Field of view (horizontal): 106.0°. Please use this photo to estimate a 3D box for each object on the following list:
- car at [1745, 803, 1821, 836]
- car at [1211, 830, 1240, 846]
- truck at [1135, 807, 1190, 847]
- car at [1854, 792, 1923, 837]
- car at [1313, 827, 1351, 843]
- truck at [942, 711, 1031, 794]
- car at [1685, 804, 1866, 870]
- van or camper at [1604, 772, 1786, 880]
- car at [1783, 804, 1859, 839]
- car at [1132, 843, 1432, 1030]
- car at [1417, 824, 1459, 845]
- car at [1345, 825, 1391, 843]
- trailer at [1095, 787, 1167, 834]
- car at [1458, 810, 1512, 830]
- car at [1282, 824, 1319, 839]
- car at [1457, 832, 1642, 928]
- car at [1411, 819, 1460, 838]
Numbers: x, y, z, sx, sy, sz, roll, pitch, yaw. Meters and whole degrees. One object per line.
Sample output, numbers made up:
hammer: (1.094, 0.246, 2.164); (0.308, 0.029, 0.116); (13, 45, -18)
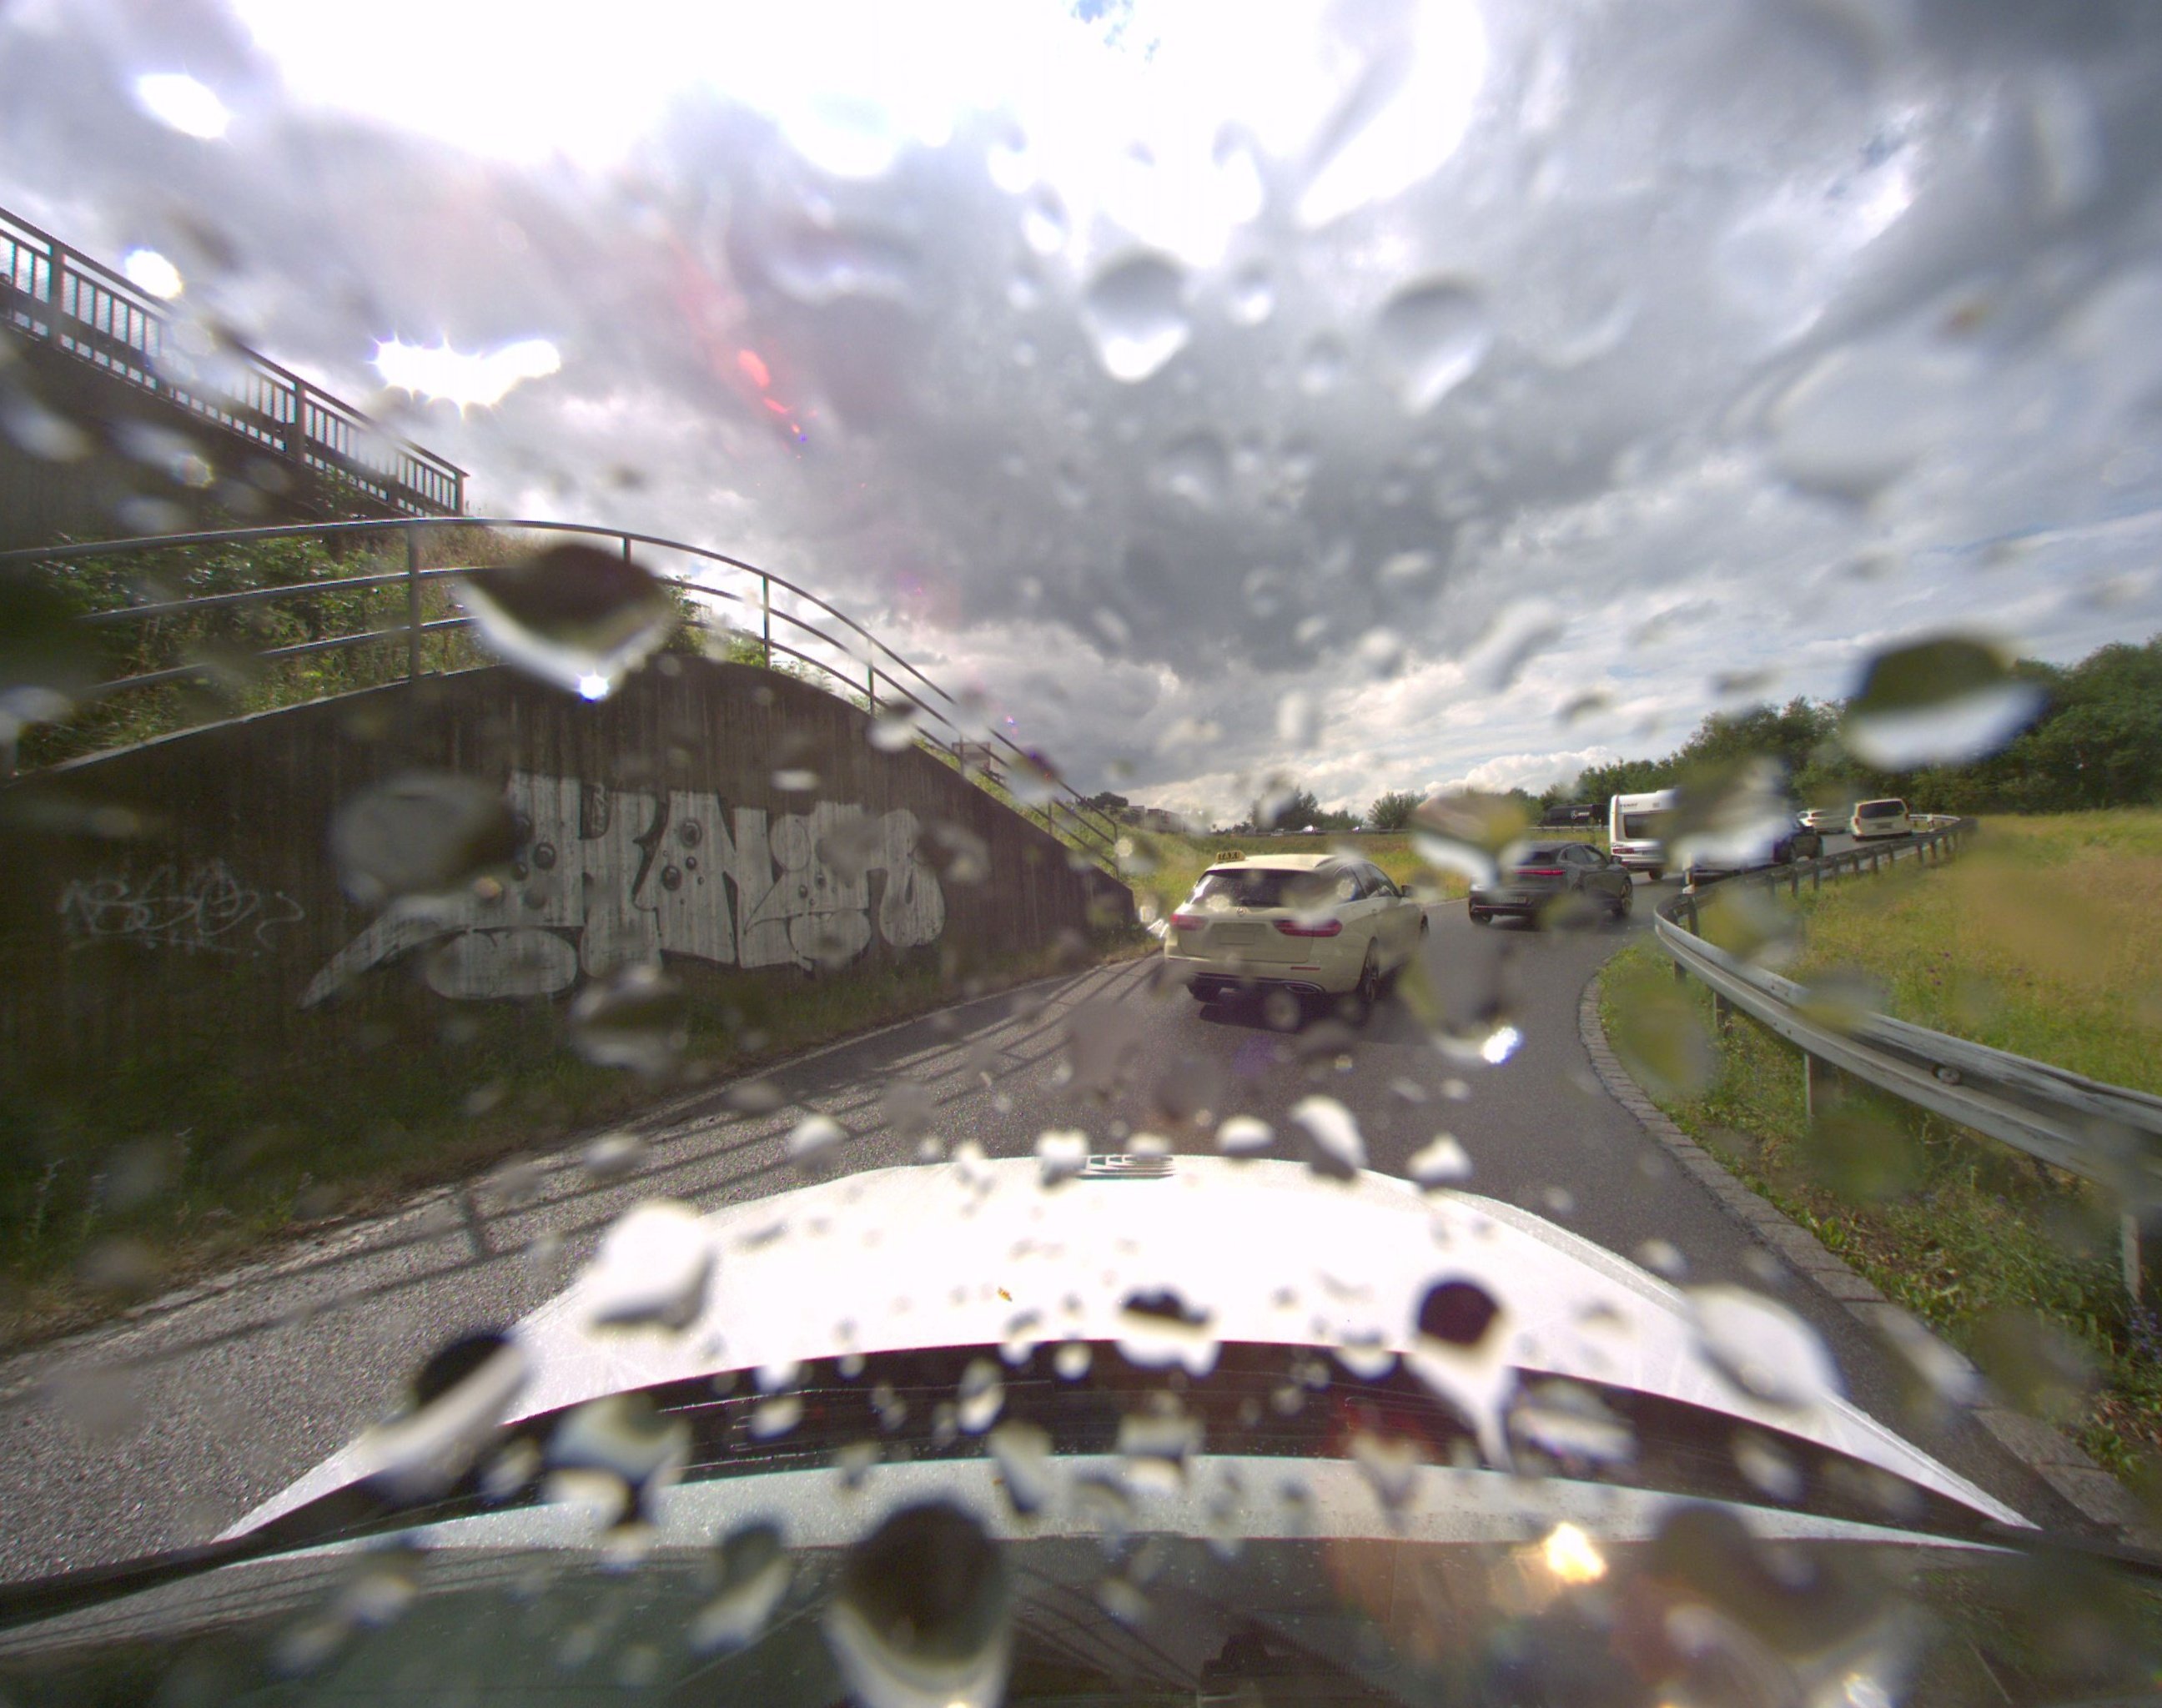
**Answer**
car: (47.965, -2.316, 55.774); (1.978, 1.861, 5.079); (-3, -1, 17)
car: (20.596, -2.279, 116.213); (3.961, 2.014, 1.832); (-1, -3, 11)
truck: (12.349, -3.787, 120.468); (4.426, 4.504, 19.457); (-1, -2, 17)
car: (38.192, -1.800, 38.615); (1.974, 1.861, 5.088); (-4, -2, 42)
car: (33.693, -2.480, 109.426); (4.453, 1.861, 2.012); (-4, -2, 42)
truck: (-6.100, -6.571, 54.457); (3.159, 3.967, 9.264); (-1, -2, 12)
car: (22.527, -0.576, 26.366); (5.773, 1.925, 2.415); (-2, 1, -27)
van or camper: (17.724, -0.769, 23.405); (6.027, 2.729, 2.412); (-2, 0, -35)
car: (43.443, -1.868, 47.940); (1.975, 1.861, 5.087); (0, 0, 26)
car: (2.512, 0.678, 9.092); (1.897, 1.507, 4.625); (-2, 0, 31)
car: (41.992, -2.273, 95.771); (2.007, 2.014, 3.958); (1, -6, -32)
car: (36.143, -2.518, 102.714); (2.010, 1.861, 4.997); (-1, -2, -40)
trailer: (6.689, -5.103, 101.761); (4.379, 3.956, 20.303); (-1, -2, 17)
car: (44.872, -3.728, 90.526); (2.006, 1.861, 5.008); (-2, -2, -30)
car: (31.415, -3.208, 116.784); (2.007, 1.861, 5.006); (-2, -2, -32)
car: (8.707, 0.413, 15.001); (4.021, 1.525, 1.703); (-1, -1, -41)
car: (41.787, -2.948, 96.078); (2.008, 1.861, 5.004); (-2, -2, -33)
